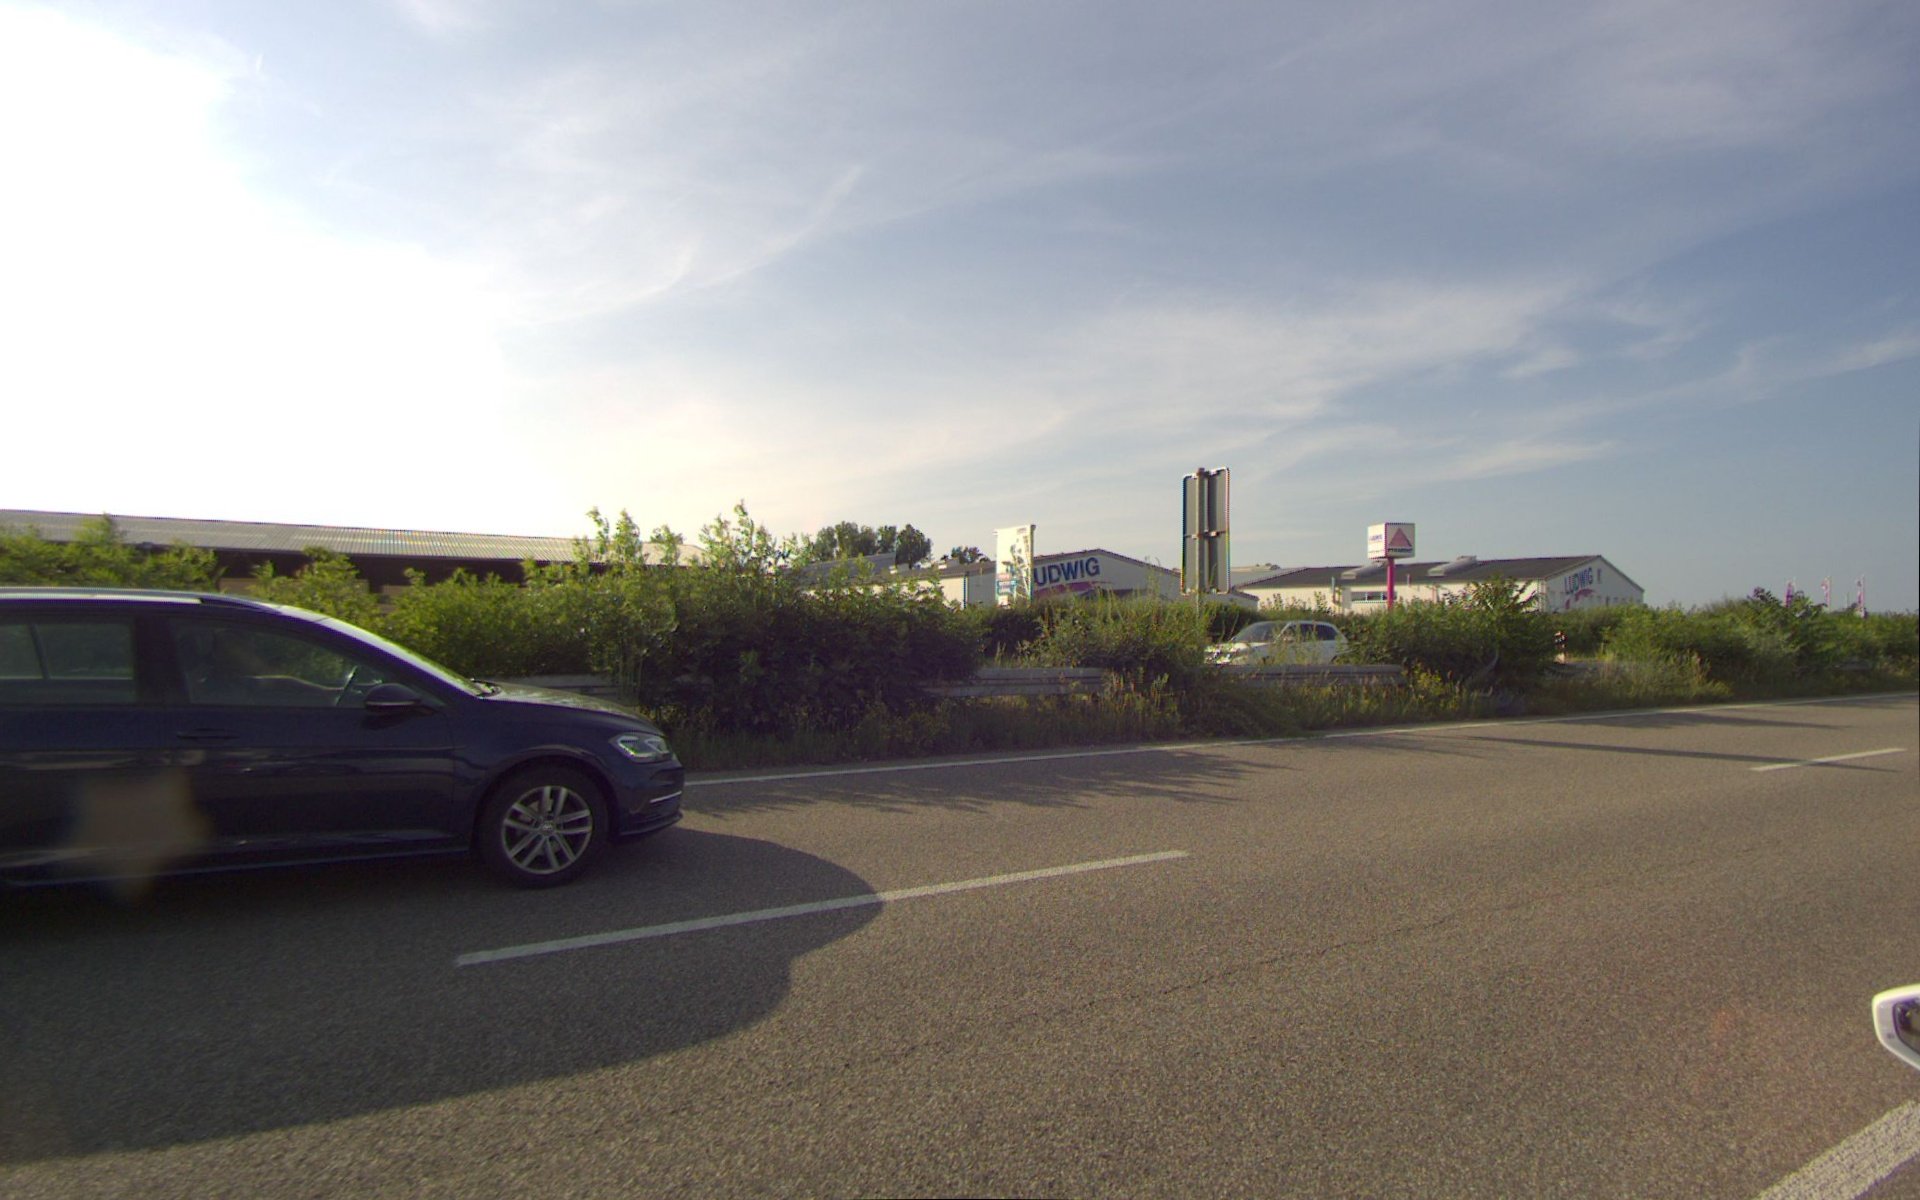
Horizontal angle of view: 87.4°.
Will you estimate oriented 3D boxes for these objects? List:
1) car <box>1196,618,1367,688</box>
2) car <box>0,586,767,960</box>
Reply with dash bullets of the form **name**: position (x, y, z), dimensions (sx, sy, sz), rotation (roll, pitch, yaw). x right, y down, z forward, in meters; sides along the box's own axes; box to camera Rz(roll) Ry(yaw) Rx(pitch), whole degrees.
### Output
- **car**: position (7.715, 1.223, 24.028), dimensions (3.953, 1.547, 1.694), rotation (1, -1, -30)
- **car**: position (-3.524, 0.718, 5.146), dimensions (4.721, 1.490, 1.638), rotation (1, -1, -31)
